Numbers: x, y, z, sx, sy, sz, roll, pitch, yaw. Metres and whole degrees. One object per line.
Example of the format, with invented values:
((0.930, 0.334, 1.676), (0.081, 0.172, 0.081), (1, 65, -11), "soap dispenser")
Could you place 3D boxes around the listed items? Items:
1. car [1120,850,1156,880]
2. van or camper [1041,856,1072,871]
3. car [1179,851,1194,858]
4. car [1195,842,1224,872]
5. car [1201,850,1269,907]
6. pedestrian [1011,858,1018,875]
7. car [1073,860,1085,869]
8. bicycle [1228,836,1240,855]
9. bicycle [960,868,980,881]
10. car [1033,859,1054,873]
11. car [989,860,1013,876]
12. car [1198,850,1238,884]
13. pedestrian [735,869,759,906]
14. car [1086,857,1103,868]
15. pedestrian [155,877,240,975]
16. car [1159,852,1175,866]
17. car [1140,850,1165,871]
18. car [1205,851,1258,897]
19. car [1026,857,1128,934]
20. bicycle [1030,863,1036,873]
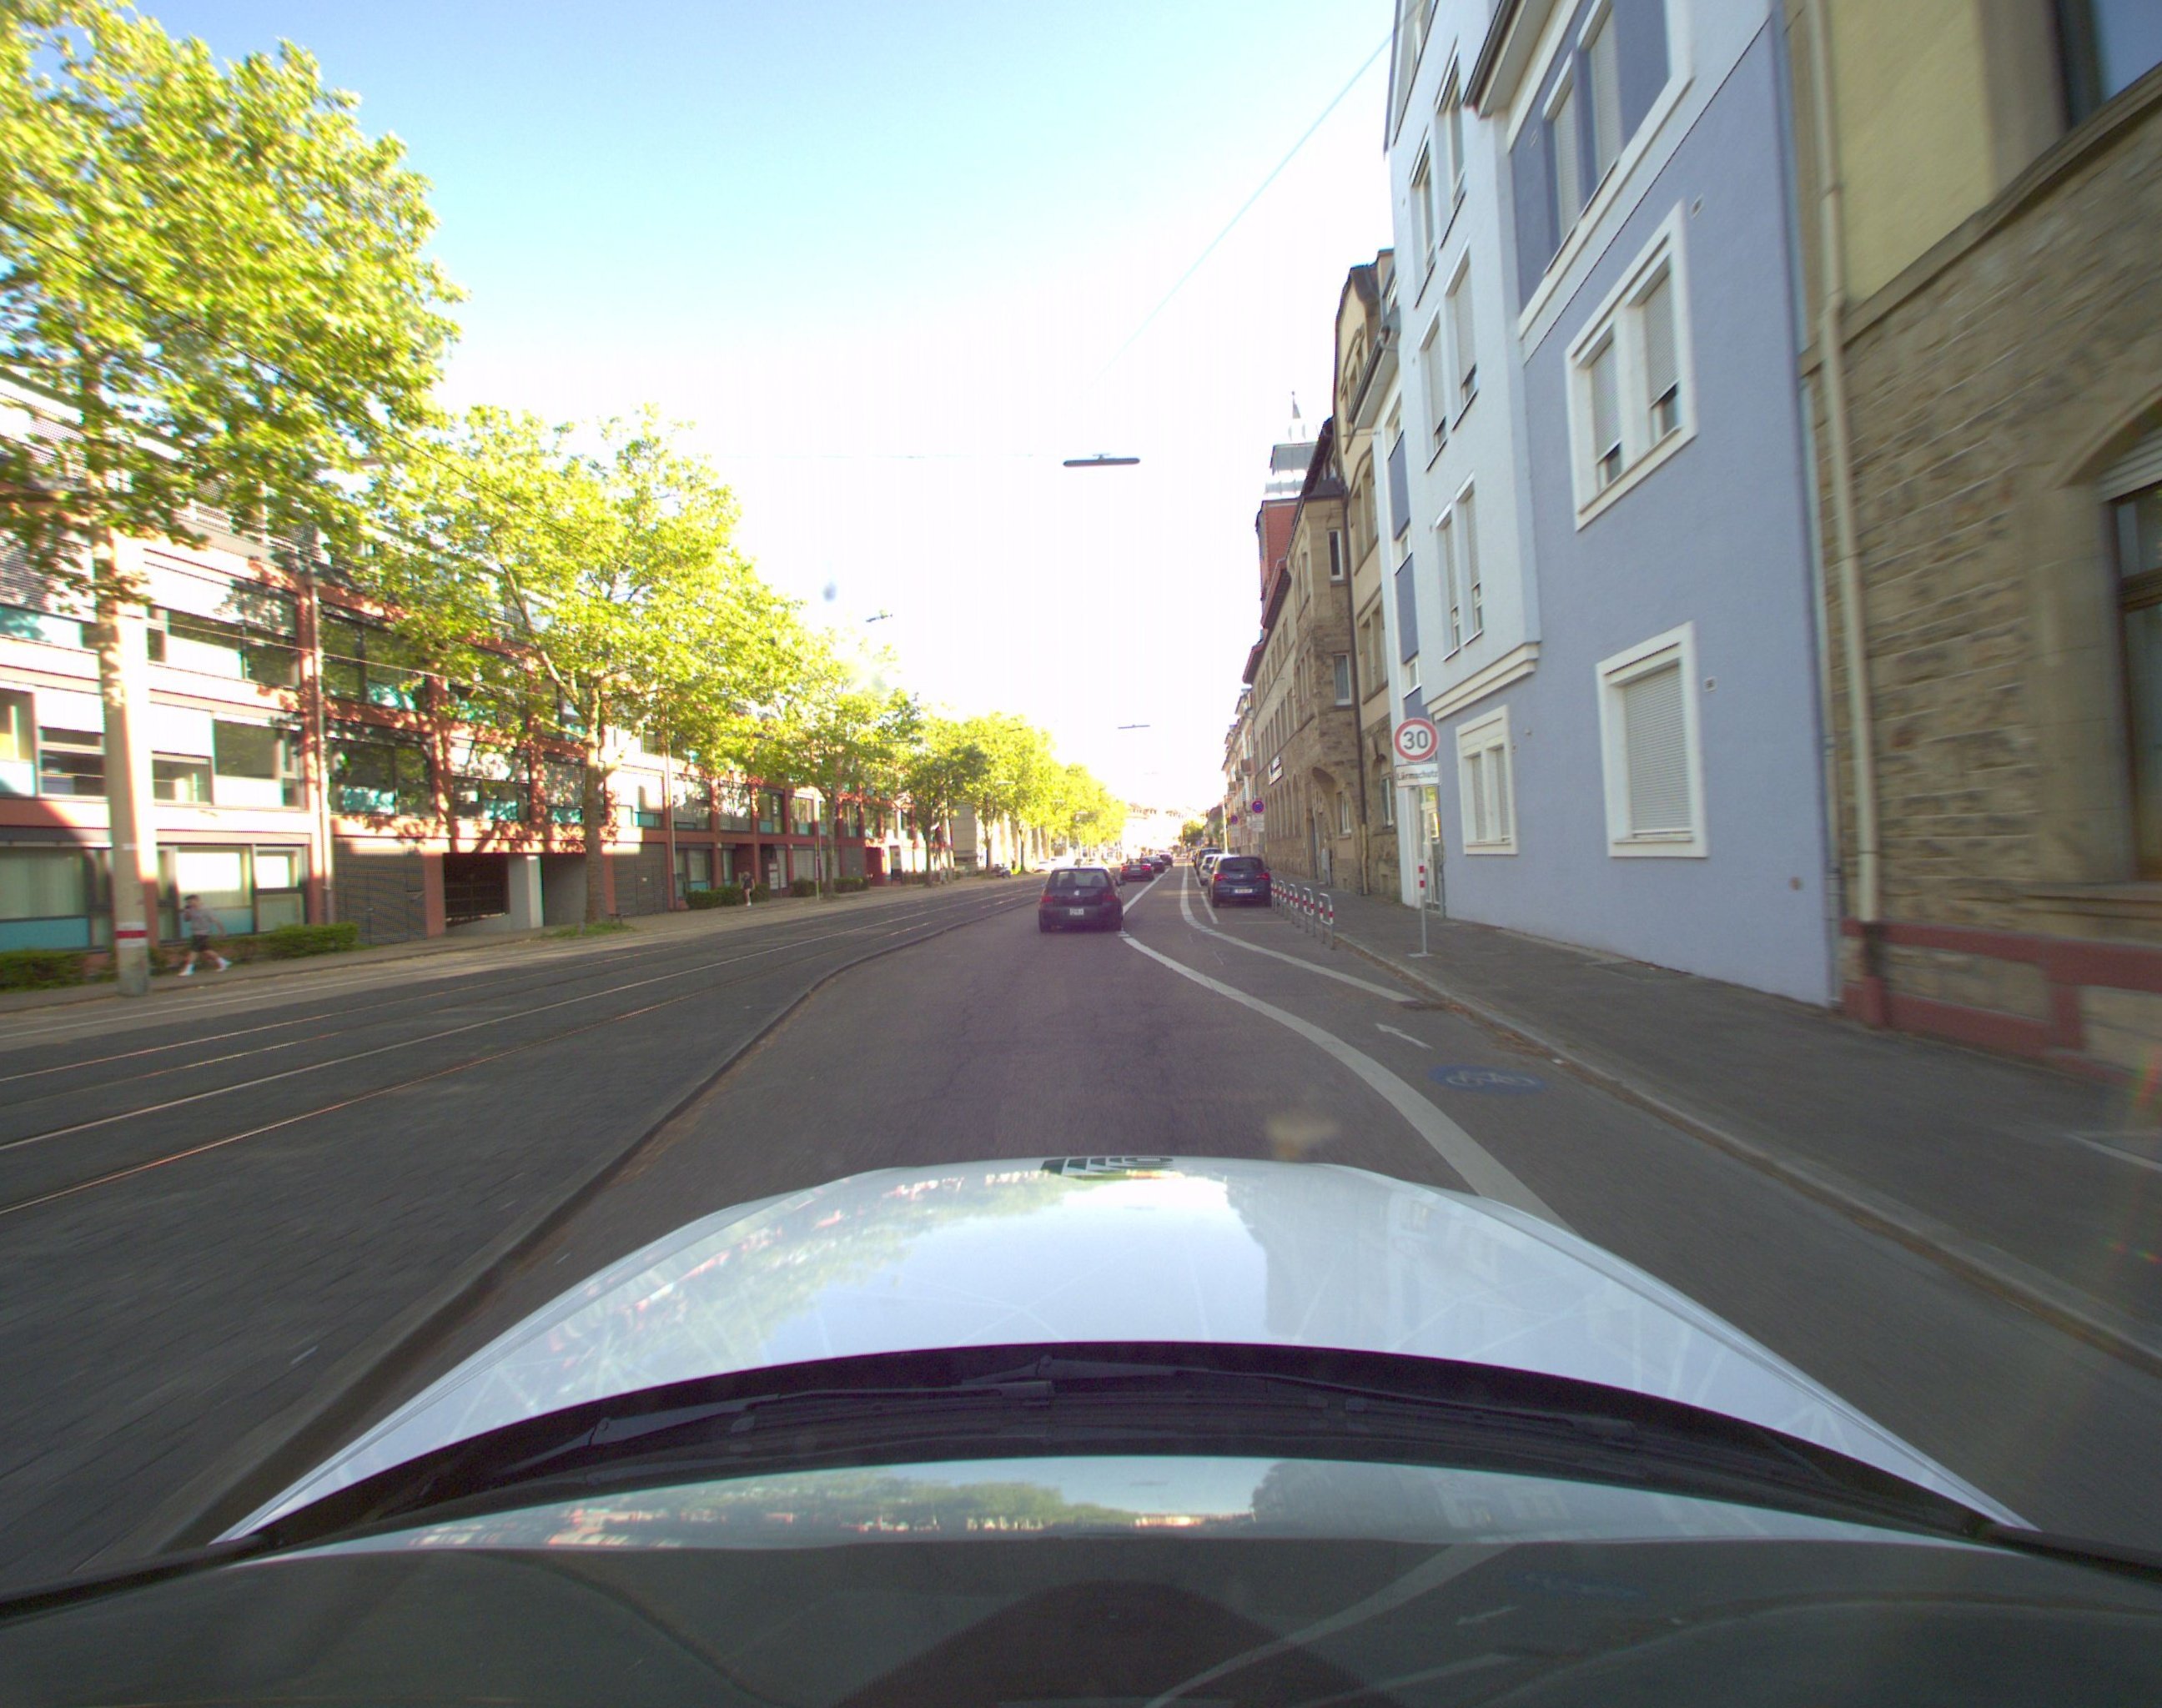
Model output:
((3.335, 0.603, 47.384), (1.739, 1.537, 3.900), (-3, 0, 8), "car")
((-3.390, 1.344, 114.135), (2.041, 1.949, 5.221), (-1, 0, 27), "van or camper")
((29.386, 0.106, 226.869), (3.973, 2.013, 2.000), (-1, 0, 0), "car")
((8.581, 0.203, 54.544), (1.743, 1.855, 4.826), (-2, 0, 7), "car")
((4.431, 0.658, 23.912), (1.646, 1.482, 4.008), (-2, 0, 7), "car")
((-7.747, 1.438, 94.930), (0.784, 1.870, 0.669), (-1, 0, -8), "pedestrian")
((-0.310, 1.811, 138.132), (1.562, 1.533, 3.579), (-3, -1, 7), "car")
((9.807, -0.524, 52.108), (0.512, 1.139, 2.263), (-5, 0, 7), "bicycle")
((-11.817, 2.190, 86.697), (1.997, 1.278, 0.665), (-2, 0, 7), "bicycle")
((-4.728, 1.505, 103.846), (2.001, 1.572, 4.701), (-1, 0, 6), "car")
((-7.865, 1.390, 79.893), (1.499, 1.454, 3.470), (-3, -3, 8), "car")
((6.600, 0.600, 39.530), (1.704, 1.501, 4.235), (-1, 0, 7), "car")
((-15.812, 1.569, 38.580), (0.622, 1.718, 0.902), (-1, 0, 6), "pedestrian")
((2.017, 1.262, 119.918), (1.741, 1.518, 4.084), (-5, -1, 12), "car")
((-19.040, 1.525, 17.570), (0.908, 2.013, 0.780), (-1, 0, -2), "pedestrian")
((9.384, 0.539, 88.638), (1.627, 1.472, 3.737), (-3, 0, 7), "car")
((5.656, 0.506, 64.192), (1.739, 1.537, 3.900), (-3, 0, 8), "car")
((5.364, 0.663, 29.393), (1.742, 1.501, 4.206), (-1, 0, 9), "car")
((0.029, 0.826, 18.033), (1.740, 1.375, 4.007), (-3, 0, 6), "car")
((-5.798, 1.686, 98.342), (0.579, 1.209, 1.654), (-1, 0, 1), "bicycle")
